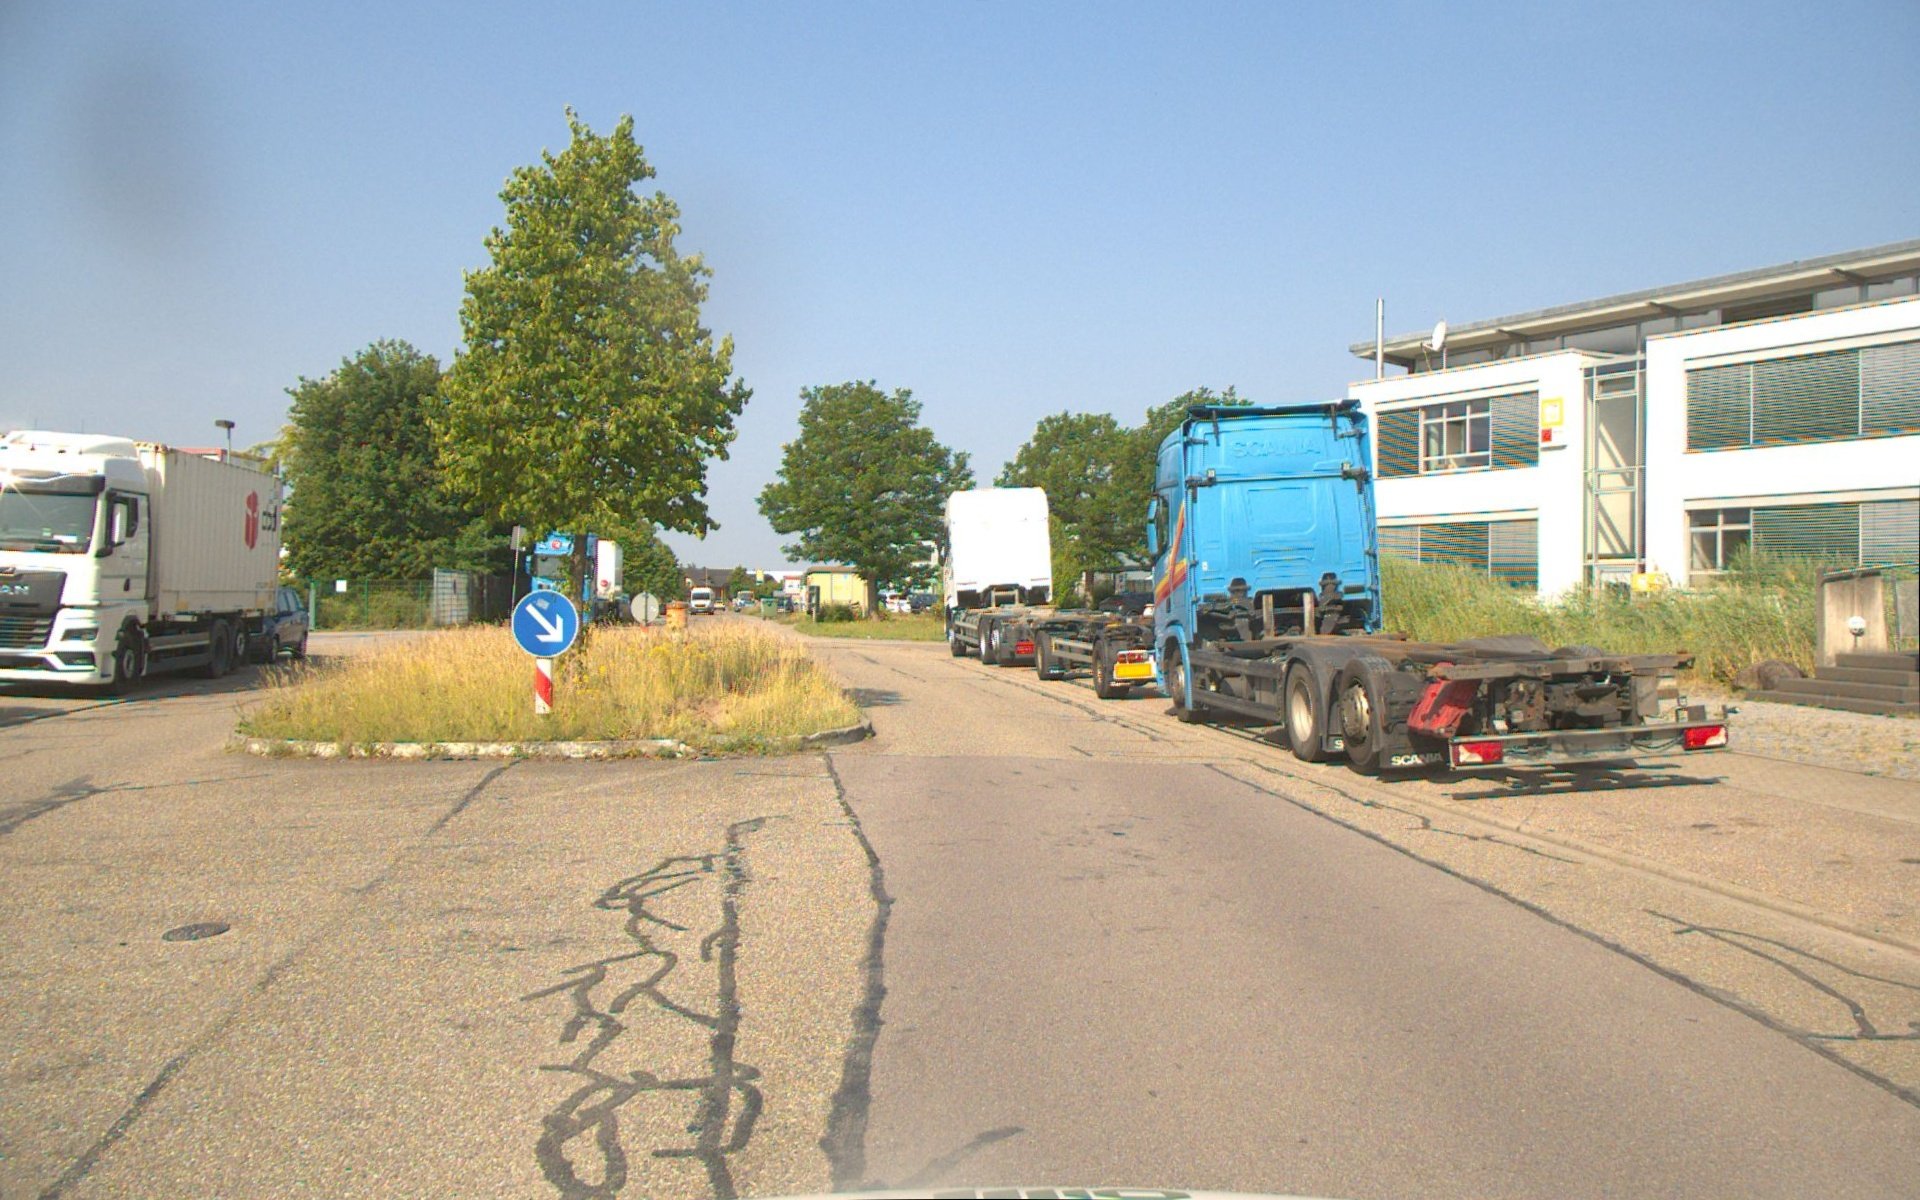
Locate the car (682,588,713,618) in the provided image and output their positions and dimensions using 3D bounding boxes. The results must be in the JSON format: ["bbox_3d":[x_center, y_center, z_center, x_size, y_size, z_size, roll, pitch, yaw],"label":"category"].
[{"bbox_3d":[-25.108,0.298,158.089,2.177,2.733,6.826,2,-1,-14],"label":"car"}]

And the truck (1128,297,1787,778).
[{"bbox_3d":[4.401,-0.459,17.717,2.834,3.597,9.737,-3,0,-8],"label":"truck"}]

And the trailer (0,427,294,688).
[{"bbox_3d":[-14.343,-0.602,29.642,2.650,3.990,7.559,2,-1,-9],"label":"trailer"}]

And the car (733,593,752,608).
[{"bbox_3d":[-27.754,0.094,210.934,1.743,1.847,3.979,2,-1,-18],"label":"car"}]

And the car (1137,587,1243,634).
[{"bbox_3d":[9.352,0.426,67.123,4.031,1.731,1.748,3,-2,-30],"label":"car"}]

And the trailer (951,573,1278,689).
[{"bbox_3d":[2.264,0.437,32.422,2.695,1.601,16.141,-2,0,-8],"label":"trailer"}]

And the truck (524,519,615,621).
[{"bbox_3d":[-16.365,-1.103,69.885,2.773,3.893,9.652,2,-1,-9],"label":"truck"}]

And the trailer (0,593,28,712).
[{"bbox_3d":[-13.090,0.653,18.739,2.630,1.479,5.069,1,0,-7],"label":"trailer"}]

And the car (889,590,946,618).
[{"bbox_3d":[-2.214,0.210,85.542,1.646,1.353,3.635,3,-1,-24],"label":"car"}]

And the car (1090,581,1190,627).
[{"bbox_3d":[7.631,0.176,69.894,3.961,1.798,1.972,3,-2,-40],"label":"car"}]

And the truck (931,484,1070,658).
[{"bbox_3d":[0.943,-0.705,41.371,2.695,4.051,3.993,-2,0,-8],"label":"truck"}]

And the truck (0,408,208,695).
[{"bbox_3d":[-13.674,-0.667,25.380,2.659,3.990,4.287,2,-1,-9],"label":"truck"}]

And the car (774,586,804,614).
[{"bbox_3d":[-11.560,0.034,111.489,1.759,1.780,3.991,2,-1,-9],"label":"car"}]

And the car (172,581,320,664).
[{"bbox_3d":[-15.627,0.447,36.468,1.957,1.669,4.576,2,0,-10],"label":"car"}]

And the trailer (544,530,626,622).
[{"bbox_3d":[-17.611,-0.972,78.303,2.778,3.910,12.011,2,-1,-9],"label":"trailer"}]

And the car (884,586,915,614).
[{"bbox_3d":[-3.824,0.011,104.197,1.684,1.646,3.995,2,-1,-5],"label":"car"}]
